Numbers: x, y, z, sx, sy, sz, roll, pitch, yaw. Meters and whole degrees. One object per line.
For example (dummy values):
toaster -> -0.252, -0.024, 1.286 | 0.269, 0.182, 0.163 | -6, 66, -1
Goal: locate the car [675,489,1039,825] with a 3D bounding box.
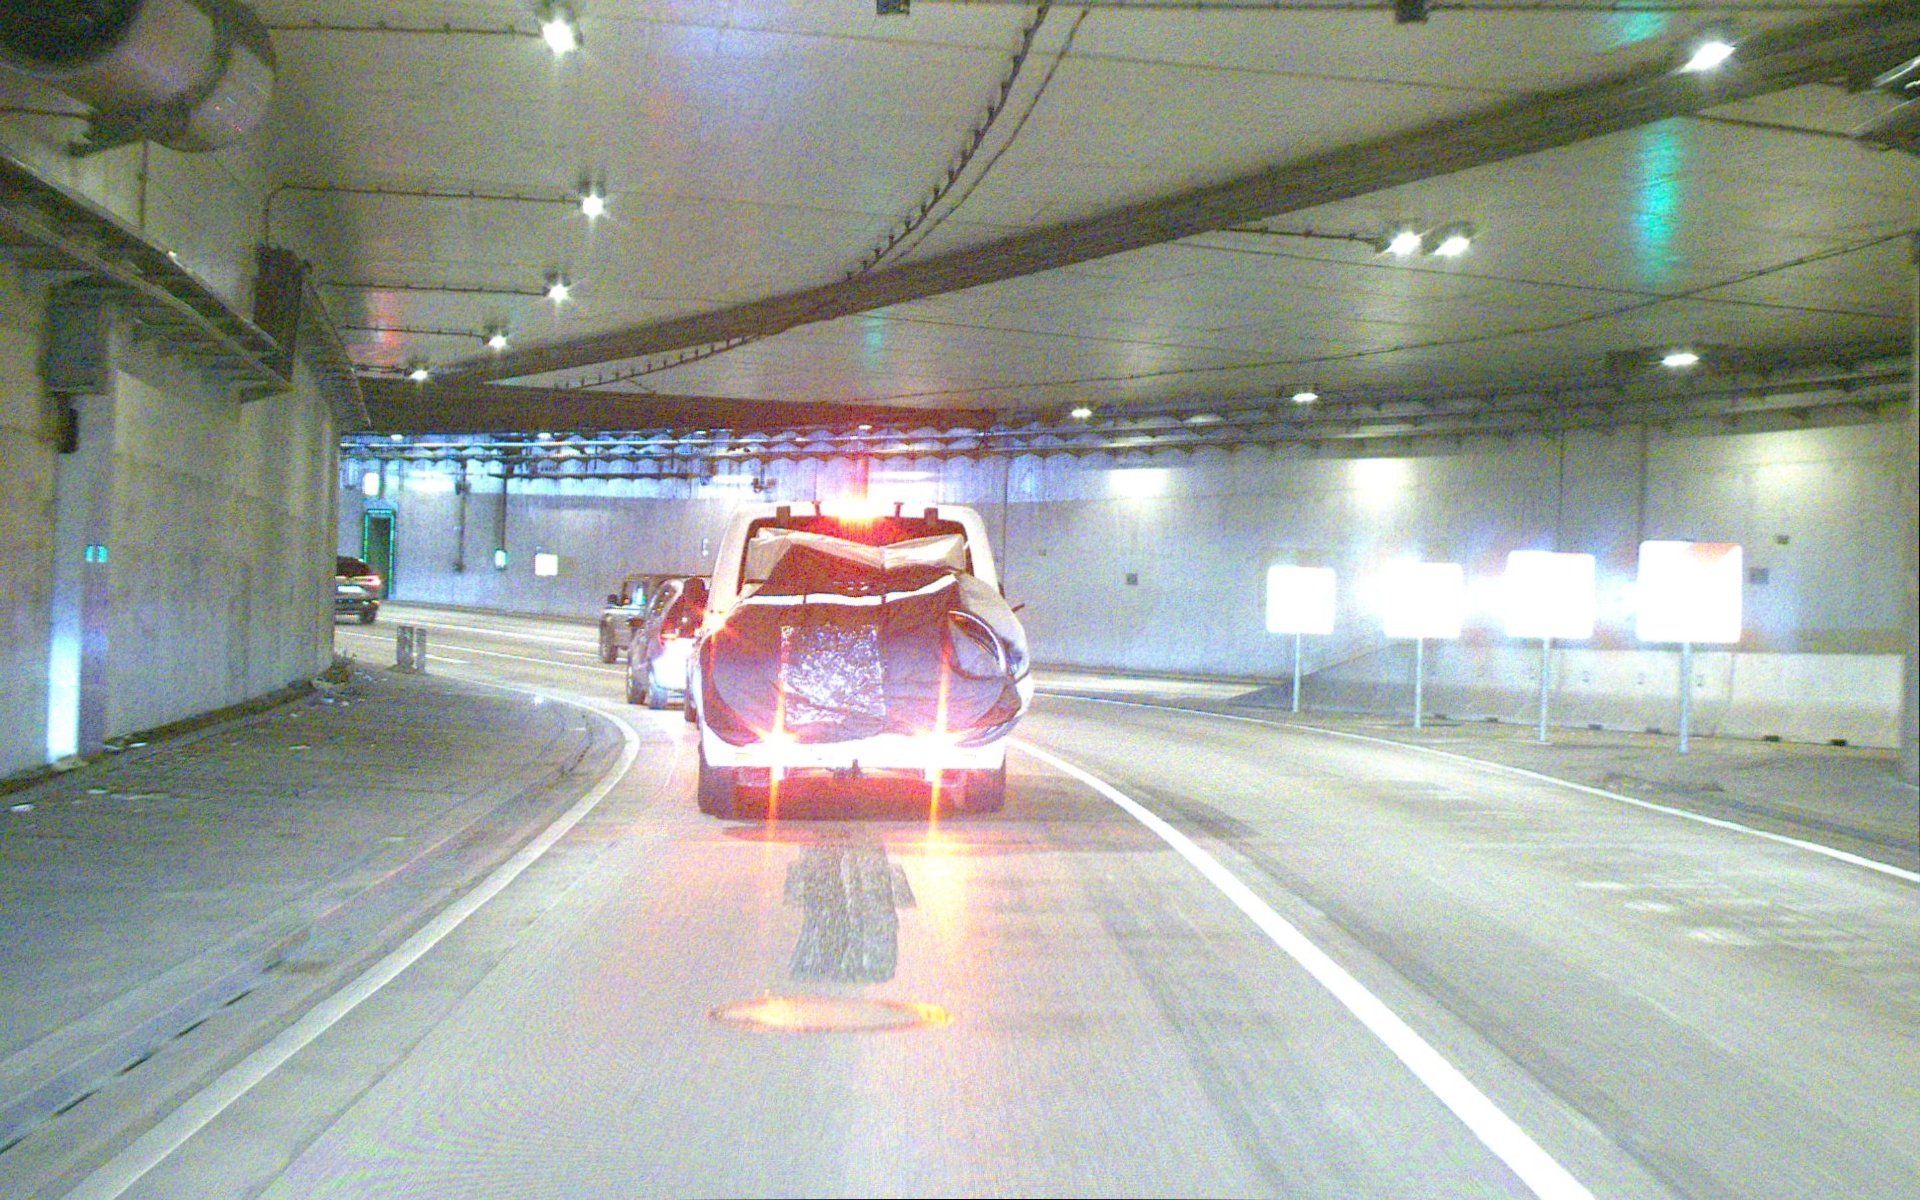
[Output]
car -> -0.679, 0.304, 21.643 | 1.993, 1.841, 5.302 | 0, 0, -2

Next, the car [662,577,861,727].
car -> -2.012, 0.499, 34.056 | 1.602, 1.391, 3.278 | 1, 0, -10

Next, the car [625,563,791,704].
car -> -3.086, 0.436, 41.630 | 1.602, 1.589, 3.356 | 2, -2, -10

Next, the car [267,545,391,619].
car -> -15.037, -0.441, 81.823 | 1.822, 1.624, 3.844 | 2, 1, -27

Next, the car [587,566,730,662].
car -> -5.497, 0.229, 62.427 | 1.602, 1.624, 3.356 | -2, 1, -23
